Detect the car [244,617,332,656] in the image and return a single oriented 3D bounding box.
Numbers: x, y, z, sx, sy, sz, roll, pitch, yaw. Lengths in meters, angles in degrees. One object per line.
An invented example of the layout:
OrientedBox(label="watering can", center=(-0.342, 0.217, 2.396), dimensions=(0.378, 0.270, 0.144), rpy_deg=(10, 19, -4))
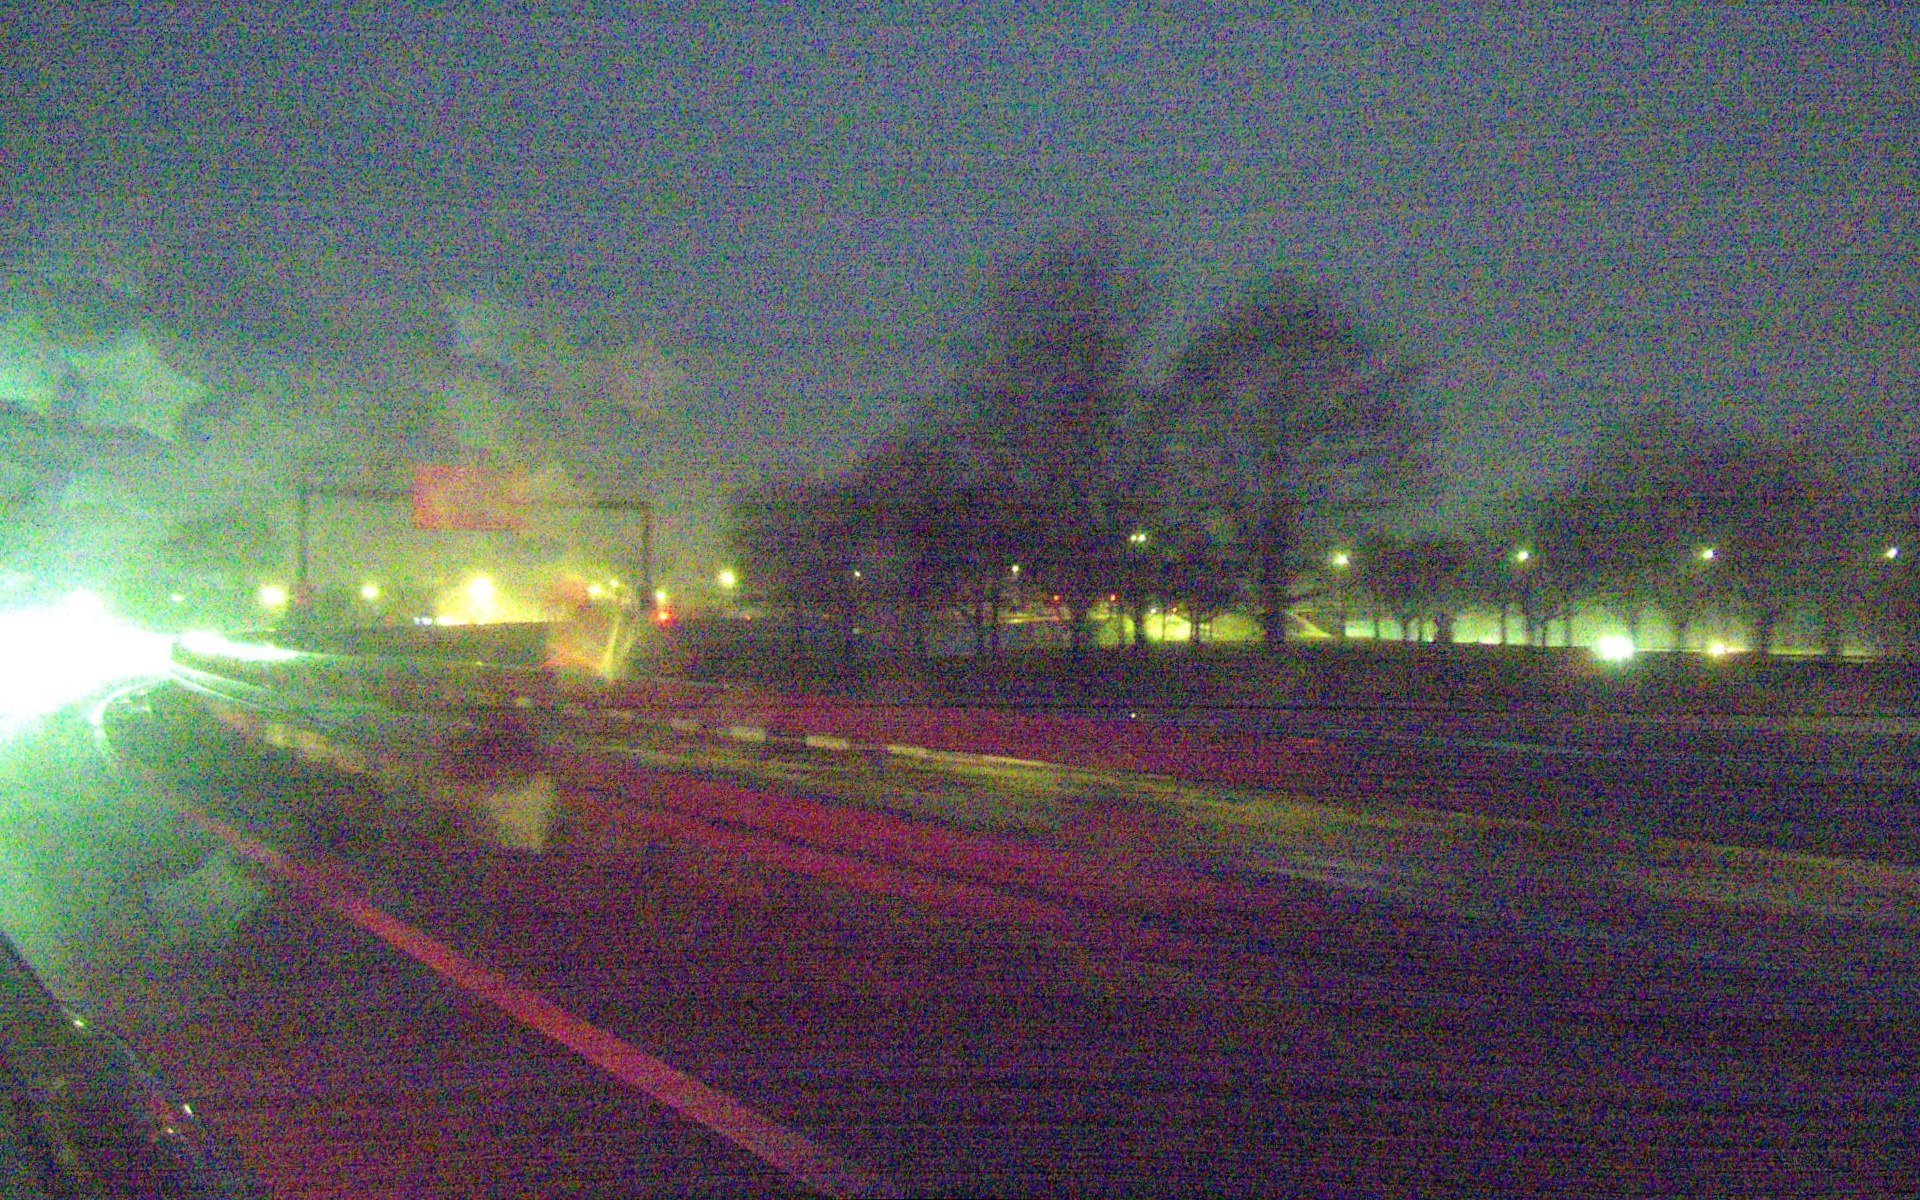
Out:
OrientedBox(label="car", center=(-32.396, 1.767, 48.918), dimensions=(1.968, 1.761, 4.107), rpy_deg=(-1, -1, -8))
